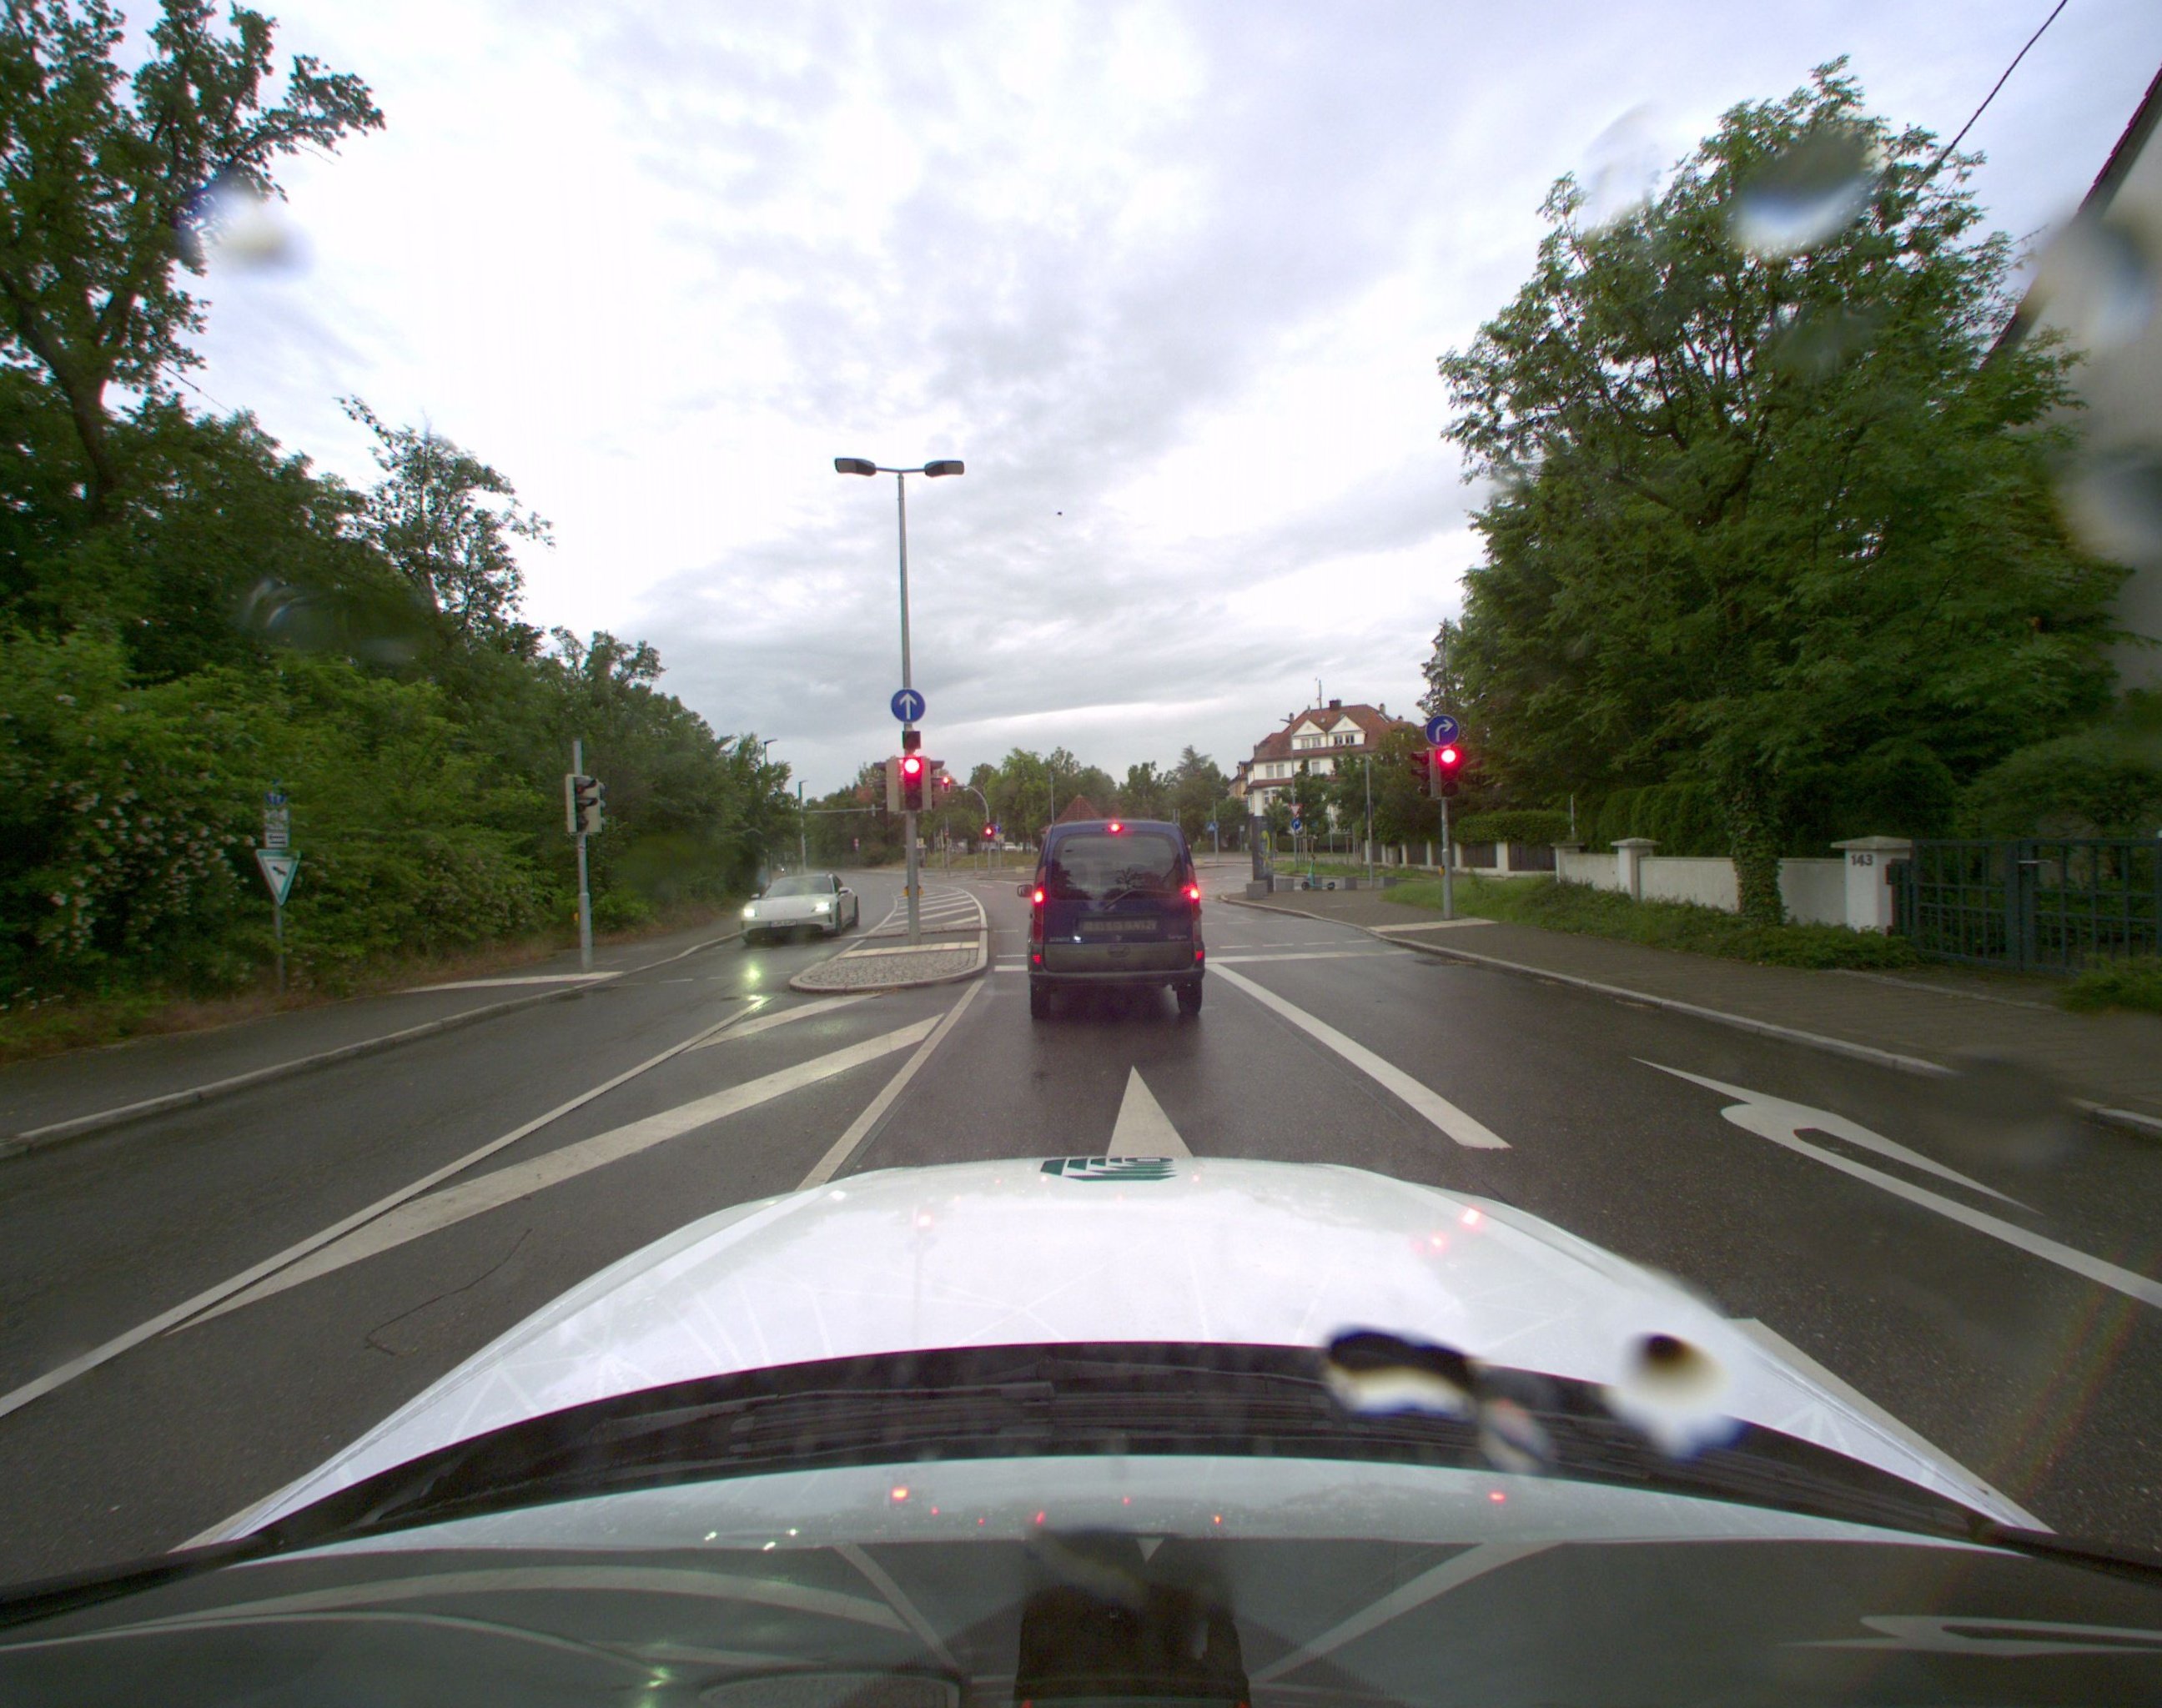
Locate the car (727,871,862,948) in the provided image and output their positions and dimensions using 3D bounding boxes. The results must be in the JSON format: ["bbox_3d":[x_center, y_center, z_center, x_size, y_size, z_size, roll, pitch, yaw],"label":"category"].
[{"bbox_3d":[-6.346,1.154,18.595,1.993,1.311,4.347,-5,1,-8],"label":"car"}]

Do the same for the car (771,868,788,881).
[{"bbox_3d":[-46.489,3.132,125.486,2.004,2.014,3.964,-1,-1,-27],"label":"car"}]

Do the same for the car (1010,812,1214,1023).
[{"bbox_3d":[0.270,0.541,9.031,1.726,1.786,3.999,-1,0,0],"label":"car"}]

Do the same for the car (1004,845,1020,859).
[{"bbox_3d":[-9.333,-0.291,110.292,1.990,1.812,3.994,-1,-1,-4],"label":"car"}]

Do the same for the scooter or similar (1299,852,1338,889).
[{"bbox_3d":[8.084,0.569,27.728,1.145,1.219,0.406,-2,-1,1],"label":"scooter or similar"}]
